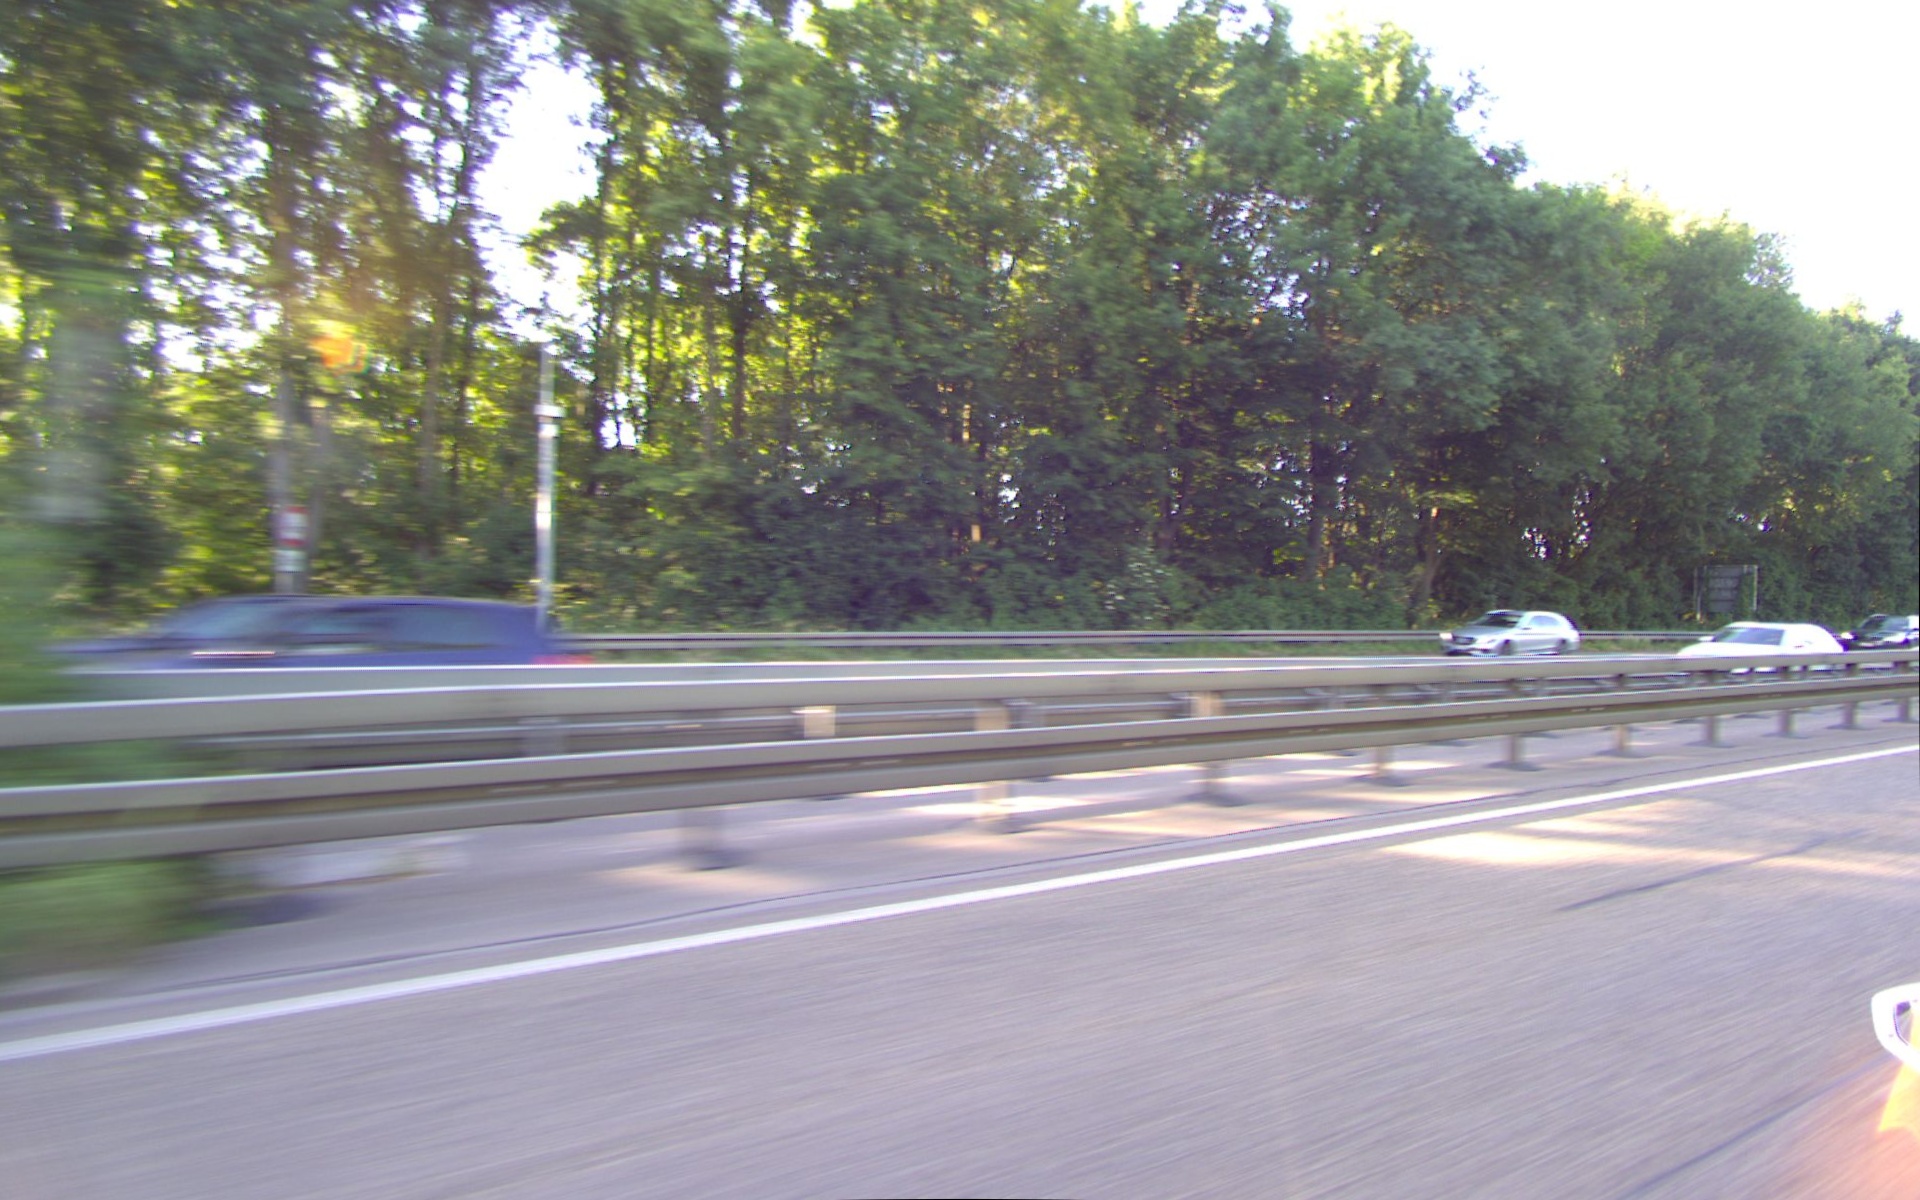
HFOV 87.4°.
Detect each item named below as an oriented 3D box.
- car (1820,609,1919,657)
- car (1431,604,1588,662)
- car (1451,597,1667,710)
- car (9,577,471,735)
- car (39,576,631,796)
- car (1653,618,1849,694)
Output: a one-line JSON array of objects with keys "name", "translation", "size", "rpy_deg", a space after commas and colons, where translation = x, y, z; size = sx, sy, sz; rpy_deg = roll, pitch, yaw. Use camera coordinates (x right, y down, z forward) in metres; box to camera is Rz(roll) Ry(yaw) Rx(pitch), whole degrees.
[{"name": "car", "translation": [34.948, 1.263, 38.163], "size": [4.851, 1.721, 1.984], "rpy_deg": [1, -2, -30]}, {"name": "car", "translation": [16.321, 0.980, 29.788], "size": [4.652, 1.621, 1.984], "rpy_deg": [1, -2, -30]}, {"name": "car", "translation": [11.088, 0.957, 18.557], "size": [3.953, 1.884, 1.779], "rpy_deg": [1, -2, -30]}, {"name": "car", "translation": [-8.075, 0.615, 11.787], "size": [4.070, 1.560, 1.984], "rpy_deg": [1, -2, -30]}, {"name": "car", "translation": [-5.268, 0.673, 9.046], "size": [4.070, 1.560, 1.984], "rpy_deg": [1, -2, -30]}, {"name": "car", "translation": [18.182, 1.245, 23.053], "size": [4.652, 1.580, 1.984], "rpy_deg": [1, -2, -30]}]
